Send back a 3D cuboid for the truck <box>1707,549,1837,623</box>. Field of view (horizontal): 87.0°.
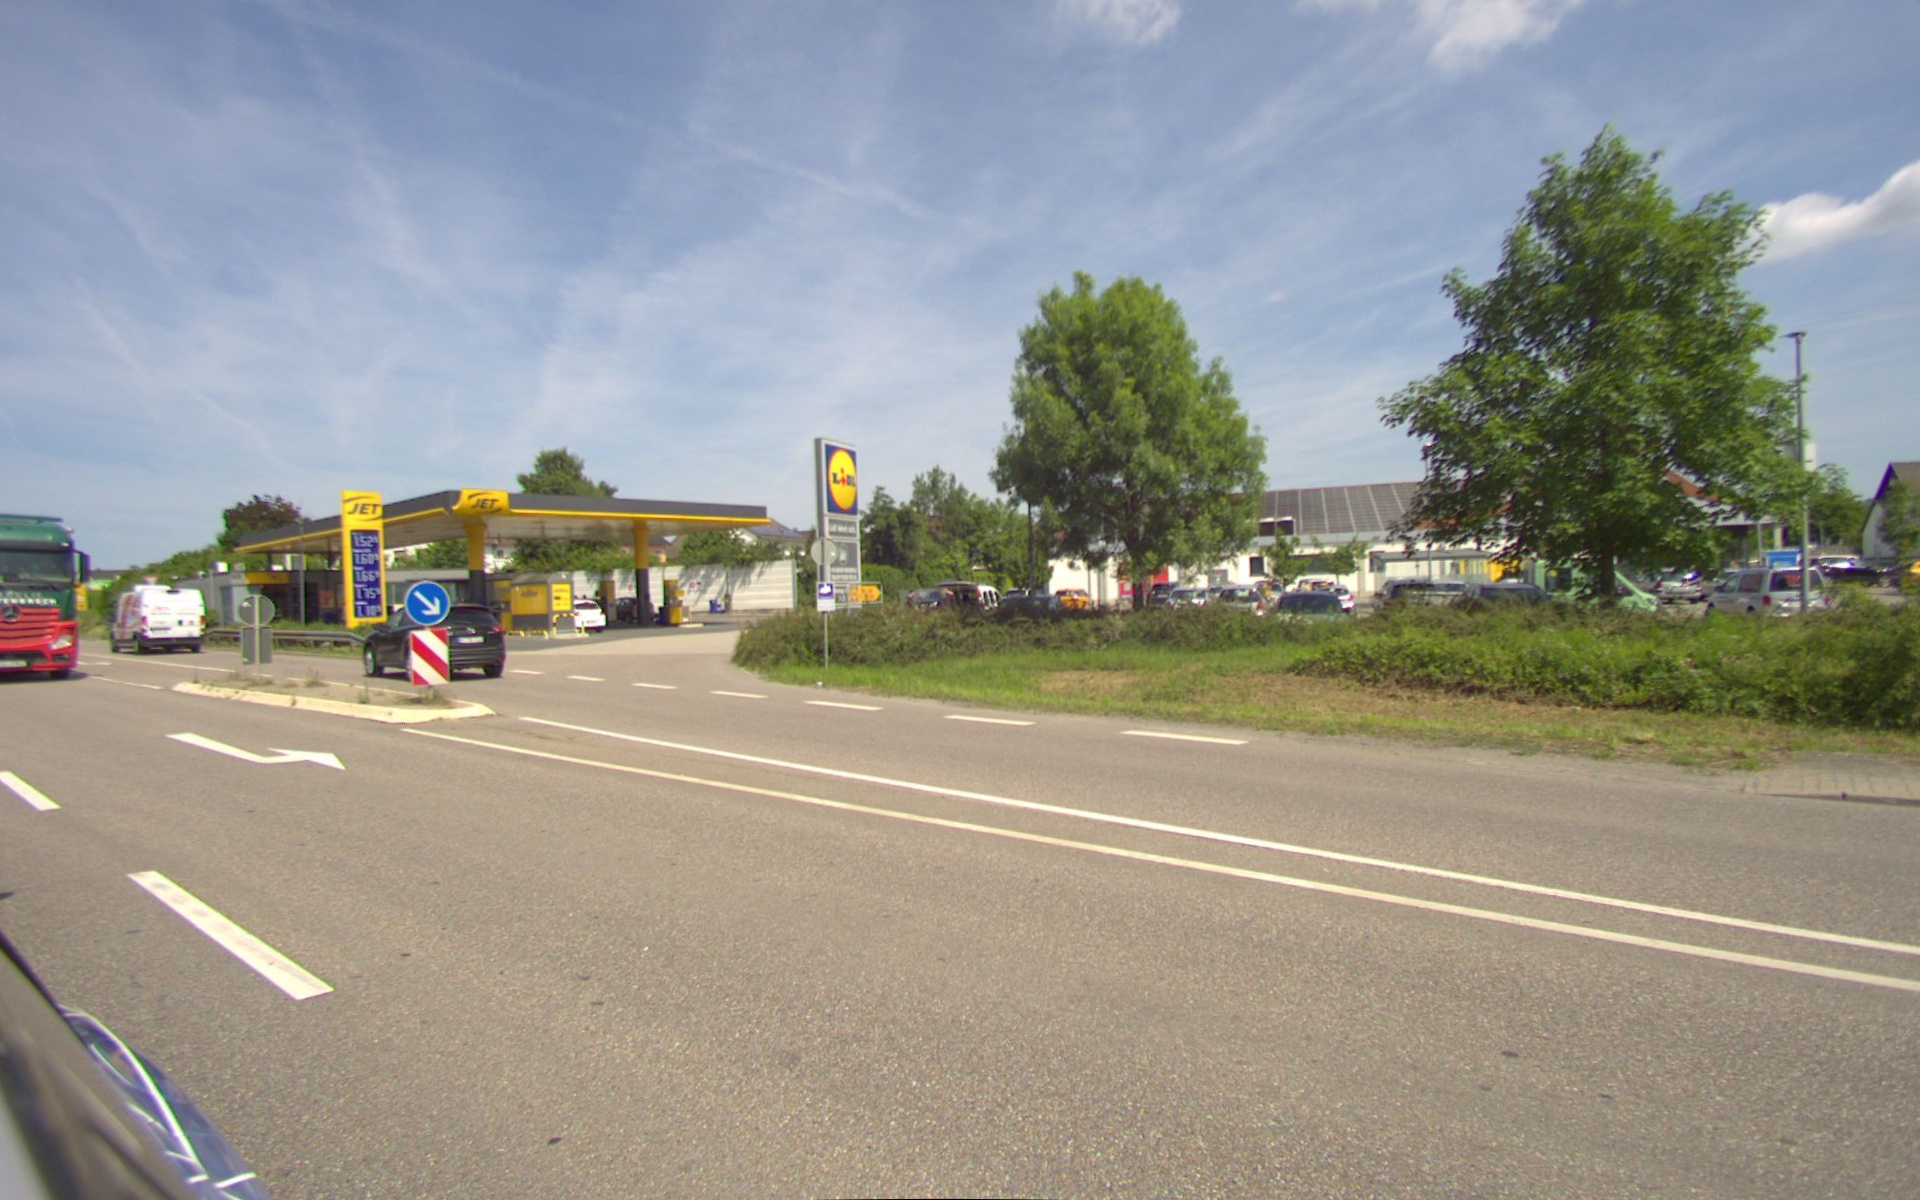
[{"bbox_3d":[27.855,-0.466,34.894,1.981,2.383,3.982,-1,0,14],"label":"truck"}]

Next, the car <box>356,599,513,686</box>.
[{"bbox_3d":[-11.739,0.877,22.498,4.111,1.763,1.846,-1,-1,43],"label":"car"}]

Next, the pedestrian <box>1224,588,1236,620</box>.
[{"bbox_3d":[12.966,0.194,48.627,0.502,1.564,0.514,-1,0,19],"label":"pedestrian"}]

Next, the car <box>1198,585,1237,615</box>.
[{"bbox_3d":[13.295,-0.032,52.237,1.868,1.453,3.981,-1,1,15],"label":"car"}]

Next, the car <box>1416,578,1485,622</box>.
[{"bbox_3d":[18.313,-0.015,37.937,1.764,1.540,3.977,0,0,17],"label":"car"}]

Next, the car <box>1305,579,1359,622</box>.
[{"bbox_3d":[14.256,0.020,38.942,1.764,1.540,3.977,0,0,17],"label":"car"}]

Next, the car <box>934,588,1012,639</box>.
[{"bbox_3d":[0.574,0.481,38.727,1.865,1.825,4.145,-1,0,17],"label":"car"}]

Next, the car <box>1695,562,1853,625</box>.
[{"bbox_3d":[24.201,-0.165,30.332,1.981,1.708,4.408,-1,0,14],"label":"car"}]

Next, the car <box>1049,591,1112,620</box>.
[{"bbox_3d":[6.496,0.276,54.319,1.879,1.453,3.958,-1,1,31],"label":"car"}]

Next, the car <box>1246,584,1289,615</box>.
[{"bbox_3d":[15.533,-0.059,51.268,1.868,1.453,3.981,-1,1,15],"label":"car"}]

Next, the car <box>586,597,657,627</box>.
[{"bbox_3d":[-19.341,0.677,57.773,3.862,1.625,1.735,-2,-1,31],"label":"car"}]

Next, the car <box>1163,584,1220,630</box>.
[{"bbox_3d":[9.320,0.231,40.487,1.850,1.688,4.399,-1,0,17],"label":"car"}]

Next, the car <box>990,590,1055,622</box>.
[{"bbox_3d":[3.405,0.300,54.509,1.765,1.551,3.956,-2,0,33],"label":"car"}]

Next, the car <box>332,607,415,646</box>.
[{"bbox_3d":[-27.741,1.252,47.835,4.258,1.719,1.975,-2,-1,38],"label":"car"}]

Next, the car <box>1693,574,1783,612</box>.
[{"bbox_3d":[33.898,-0.289,44.222,1.865,1.553,4.231,0,0,20],"label":"car"}]

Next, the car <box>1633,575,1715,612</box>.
[{"bbox_3d":[31.483,-0.286,44.766,1.865,1.553,4.231,0,0,20],"label":"car"}]

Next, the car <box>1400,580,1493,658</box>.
[{"bbox_3d":[11.404,0.397,23.950,1.683,1.670,3.971,0,0,22],"label":"car"}]

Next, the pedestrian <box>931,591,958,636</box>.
[{"bbox_3d":[-0.543,0.471,36.034,0.801,1.587,0.701,-1,0,13],"label":"pedestrian"}]

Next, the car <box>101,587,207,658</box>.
[{"bbox_3d":[-32.430,0.886,40.645,5.979,2.674,2.097,-2,0,39],"label":"car"}]

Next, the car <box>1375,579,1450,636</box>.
[{"bbox_3d":[14.647,0.204,32.943,1.898,1.687,3.974,-1,1,20],"label":"car"}]

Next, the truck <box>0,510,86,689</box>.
[{"bbox_3d":[-24.956,0.069,25.776,10.044,3.950,2.640,-1,0,41],"label":"truck"}]

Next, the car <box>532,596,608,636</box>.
[{"bbox_3d":[-17.783,0.778,46.083,4.001,1.741,1.713,-2,-3,44],"label":"car"}]

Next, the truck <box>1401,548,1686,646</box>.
[{"bbox_3d":[15.507,-0.023,27.408,6.303,2.393,2.234,-1,-1,20],"label":"truck"}]

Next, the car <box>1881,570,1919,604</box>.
[{"bbox_3d":[45.106,-0.607,46.094,4.223,1.553,1.869,0,0,18],"label":"car"}]

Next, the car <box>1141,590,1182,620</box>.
[{"bbox_3d":[10.450,0.224,52.295,1.868,1.453,3.981,-1,1,15],"label":"car"}]

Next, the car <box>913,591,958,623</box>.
[{"bbox_3d":[-1.263,0.349,54.463,1.749,1.551,3.990,-3,0,8],"label":"car"}]

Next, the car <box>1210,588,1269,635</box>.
[{"bbox_3d":[9.865,0.361,35.604,1.769,1.513,4.122,-1,1,18],"label":"car"}]

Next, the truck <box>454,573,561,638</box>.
[{"bbox_3d":[-22.125,0.262,49.321,6.278,2.944,2.222,0,0,40],"label":"truck"}]

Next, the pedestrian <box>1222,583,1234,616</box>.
[{"bbox_3d":[12.744,-0.039,48.092,0.502,1.564,0.514,-1,0,17],"label":"pedestrian"}]

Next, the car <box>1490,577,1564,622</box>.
[{"bbox_3d":[20.568,-0.033,36.863,1.767,1.540,3.972,0,0,21],"label":"car"}]

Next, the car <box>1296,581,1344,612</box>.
[{"bbox_3d":[17.938,-0.174,50.573,1.868,1.453,3.981,-1,1,15],"label":"car"}]

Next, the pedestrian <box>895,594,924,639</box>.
[{"bbox_3d":[-1.795,0.596,36.094,0.693,1.587,0.811,0,-1,-37],"label":"pedestrian"}]

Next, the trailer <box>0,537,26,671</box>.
[{"bbox_3d":[-32.011,0.198,31.929,8.664,3.950,2.772,-1,0,41],"label":"trailer"}]
